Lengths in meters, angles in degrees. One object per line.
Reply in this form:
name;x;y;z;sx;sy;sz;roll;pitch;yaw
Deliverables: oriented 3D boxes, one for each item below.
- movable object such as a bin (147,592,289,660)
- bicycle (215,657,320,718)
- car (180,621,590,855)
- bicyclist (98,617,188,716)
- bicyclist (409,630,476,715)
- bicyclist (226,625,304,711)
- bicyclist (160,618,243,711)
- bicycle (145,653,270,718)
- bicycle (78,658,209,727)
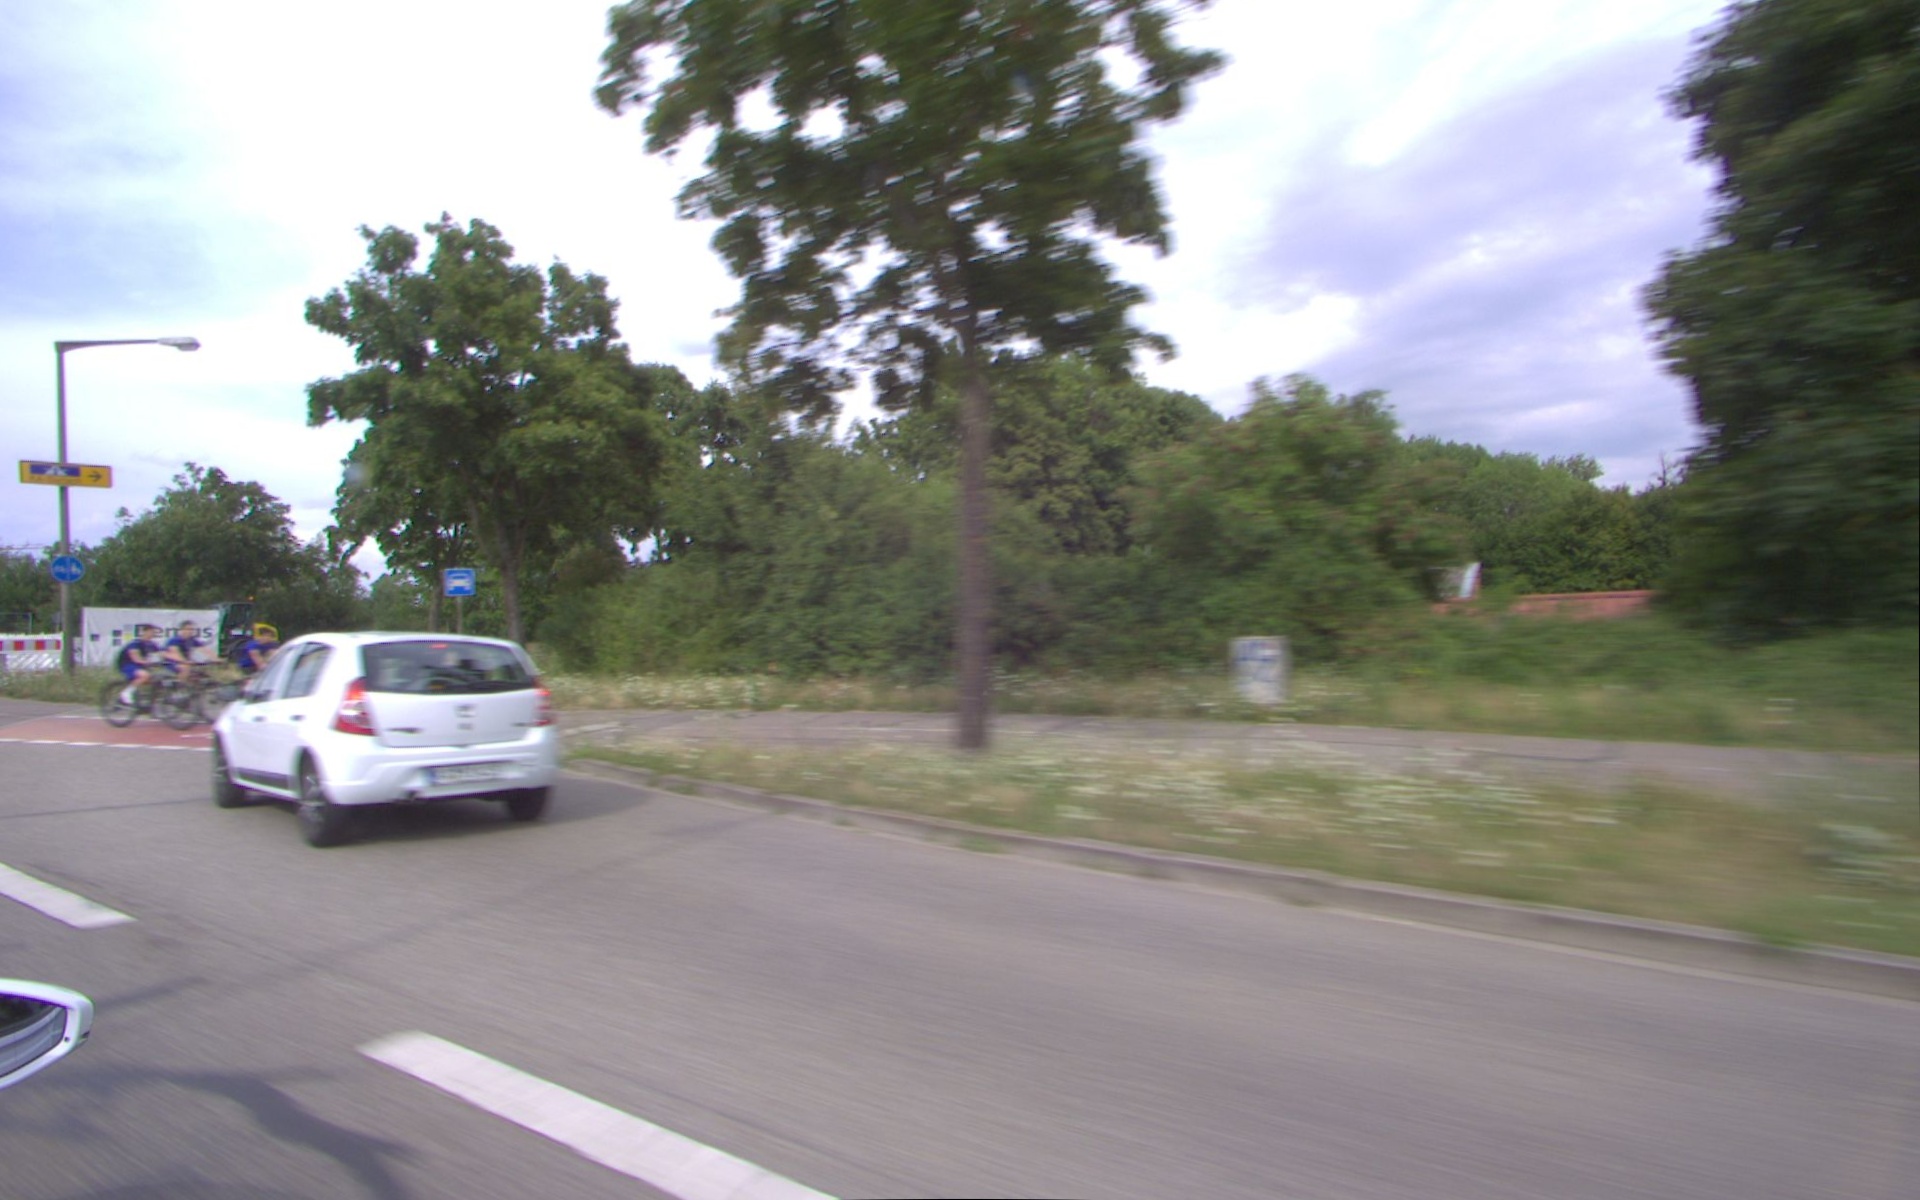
movable object such as a bin;-31.517;1.125;42.646;2.076;2.723;4.485;-2;-2;38
bicycle;-12.542;1.574;18.124;1.756;1.019;0.620;-2;1;20
car;-5.029;1.005;8.551;3.955;1.521;1.839;-2;-4;41
bicyclist;-13.093;1.055;16.064;0.941;1.537;0.742;-1;-1;19
bicyclist;-9.376;1.304;18.143;0.792;1.492;0.741;-1;-1;23
bicyclist;-12.532;1.208;18.063;0.941;1.506;0.742;-1;-1;18
bicyclist;-12.991;1.096;17.169;0.941;1.537;0.742;-1;-1;18
bicycle;-12.864;1.444;17.114;2.157;1.049;0.596;-1;-3;20
bicycle;-13.094;1.462;16.054;2.066;1.018;0.621;0;-3;20
